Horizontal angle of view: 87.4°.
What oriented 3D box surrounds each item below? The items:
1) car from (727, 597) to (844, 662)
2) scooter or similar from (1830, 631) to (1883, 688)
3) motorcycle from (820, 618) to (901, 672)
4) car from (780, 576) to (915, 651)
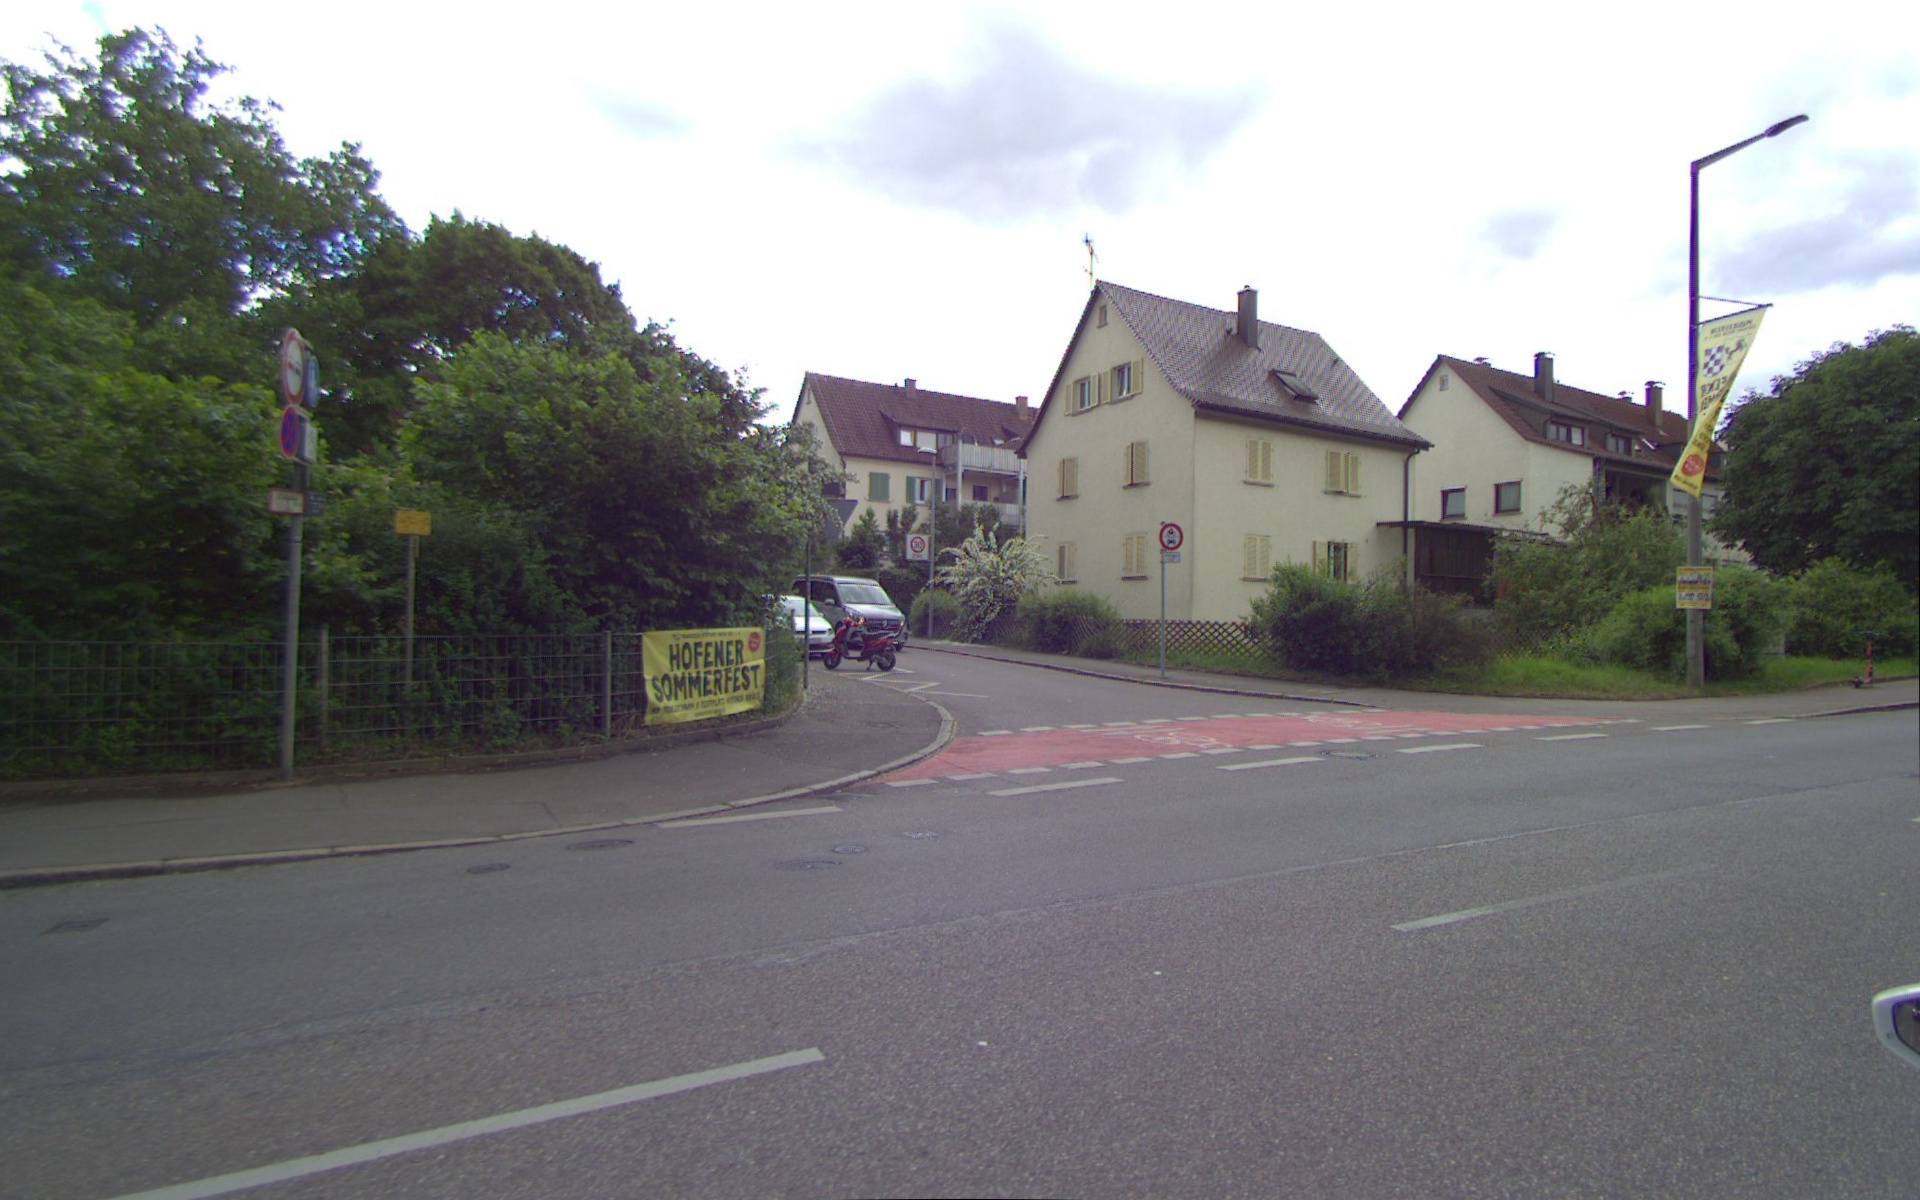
[{"bbox_3d":[-4.357,0.670,24.669,1.585,1.462,3.877,1,0,-30],"label":"car"},{"bbox_3d":[20.524,1.351,22.993,1.408,1.275,0.460,1,0,-29],"label":"scooter or similar"},{"bbox_3d":[-2.086,0.947,21.166,1.615,1.082,0.460,1,0,5],"label":"motorcycle"},{"bbox_3d":[-3.353,0.342,28.969,1.930,1.953,5.112,1,0,-31],"label":"car"}]
